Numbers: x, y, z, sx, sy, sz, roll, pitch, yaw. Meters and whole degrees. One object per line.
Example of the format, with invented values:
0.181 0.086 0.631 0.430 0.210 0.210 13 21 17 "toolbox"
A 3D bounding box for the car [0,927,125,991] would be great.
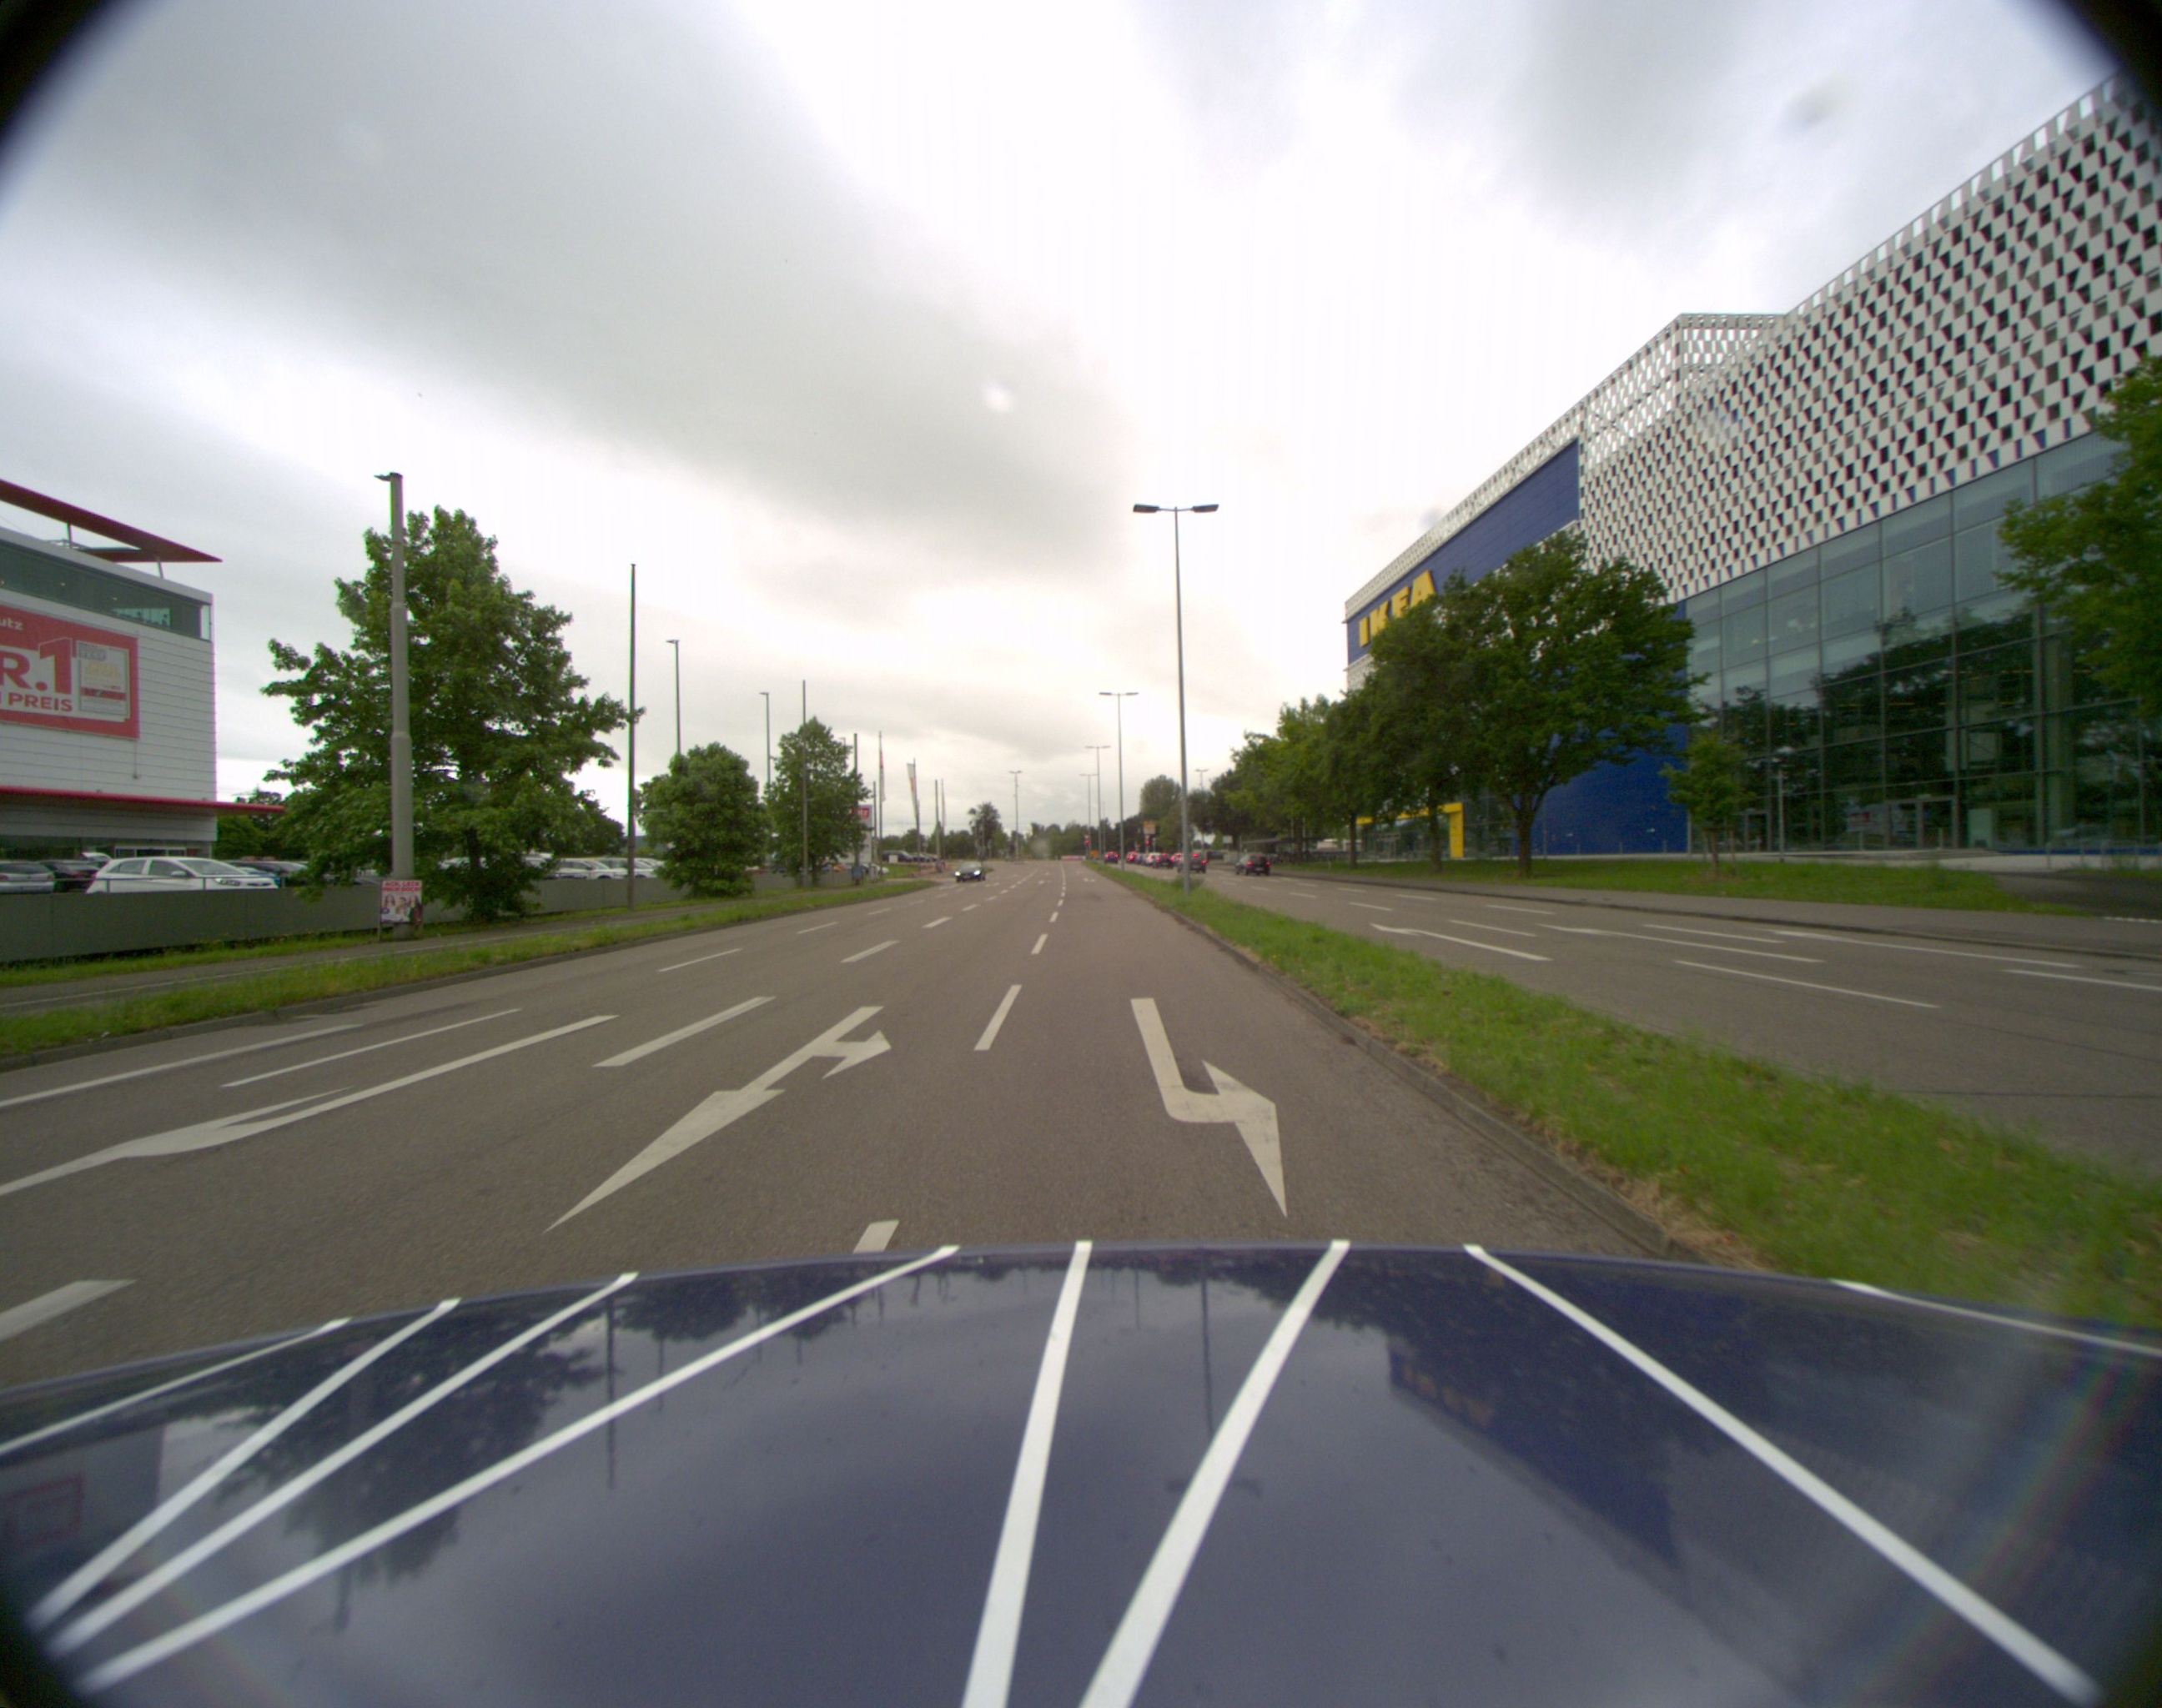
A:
-23.011 2.243 16.128 3.523 1.125 1.454 -2 0 -1 "car"

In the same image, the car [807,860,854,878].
-24.553 1.447 74.496 3.996 1.634 1.815 -1 1 4 "car"

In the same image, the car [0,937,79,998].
-28.754 2.957 19.293 4.065 1.342 1.763 -2 0 -2 "car"

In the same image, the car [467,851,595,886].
-23.615 0.633 32.742 4.163 1.342 1.810 -1 -2 -2 "car"

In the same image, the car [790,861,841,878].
-24.306 1.415 69.577 3.997 1.447 1.814 -1 1 0 "car"

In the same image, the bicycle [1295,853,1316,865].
21.900 0.474 74.163 1.814 1.076 0.593 -3 1 -1 "bicycle"

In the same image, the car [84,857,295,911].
-23.676 0.785 20.297 3.524 1.300 1.606 -1 -2 -6 "car"

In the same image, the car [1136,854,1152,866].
8.118 0.722 97.820 1.607 1.436 4.142 1 0 -2 "car"

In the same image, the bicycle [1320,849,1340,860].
27.781 0.043 84.819 2.023 1.150 0.593 -3 1 -14 "bicycle"

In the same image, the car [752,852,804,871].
-34.552 0.864 86.732 5.046 2.153 2.122 -1 1 4 "car"

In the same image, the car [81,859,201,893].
-48.902 1.148 39.580 3.996 1.600 1.883 -1 -2 2 "car"

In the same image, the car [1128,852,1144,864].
7.558 0.543 104.451 1.666 1.494 4.064 -2 0 -2 "car"

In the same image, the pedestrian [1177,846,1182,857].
16.879 -0.453 129.764 0.664 1.756 0.686 2 4 -5 "pedestrian"

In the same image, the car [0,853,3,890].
-48.681 0.817 32.234 3.577 1.578 1.740 -2 1 3 "car"

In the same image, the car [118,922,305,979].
-28.785 3.178 25.249 4.064 1.542 1.763 -2 0 -1 "car"

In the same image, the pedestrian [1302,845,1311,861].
25.112 -0.117 84.628 0.679 1.735 0.808 -2 0 -1 "pedestrian"

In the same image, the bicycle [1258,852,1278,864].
19.736 0.413 80.274 1.899 1.150 0.593 -3 1 -1 "bicycle"

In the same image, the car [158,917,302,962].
-36.858 3.665 32.983 3.998 1.613 1.783 -2 0 -4 "car"

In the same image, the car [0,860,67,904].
-38.850 1.031 26.984 3.571 1.516 1.613 -1 -2 1 "car"

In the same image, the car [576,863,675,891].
-23.838 1.189 39.857 4.065 1.342 1.835 -1 -2 -2 "car"

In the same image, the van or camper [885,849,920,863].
-27.093 0.274 115.323 4.744 2.003 2.125 1 3 15 "van or camper"

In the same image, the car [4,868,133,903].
-49.092 1.526 36.888 3.996 1.552 1.777 -1 -2 2 "car"

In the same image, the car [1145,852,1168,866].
8.446 0.522 85.044 1.936 1.510 4.181 -2 0 -2 "car"

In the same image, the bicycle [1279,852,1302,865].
20.362 0.479 73.891 2.019 1.150 0.594 -3 1 13 "bicycle"

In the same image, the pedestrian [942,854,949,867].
-17.792 0.826 99.955 0.717 1.589 0.782 -2 3 -18 "pedestrian"

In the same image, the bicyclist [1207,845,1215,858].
16.123 -0.254 94.272 0.642 1.568 1.000 -3 0 -1 "bicyclist"

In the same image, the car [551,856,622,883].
-33.906 1.070 52.194 3.745 1.757 1.734 -1 -2 1 "car"

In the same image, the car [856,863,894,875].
-25.048 1.832 92.578 4.118 1.437 1.876 -1 -2 -2 "car"

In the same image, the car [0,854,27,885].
-55.288 0.797 37.609 3.781 1.544 1.743 -1 -2 -1 "car"

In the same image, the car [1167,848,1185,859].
12.775 -0.027 102.843 1.871 1.446 4.167 0 0 -1 "car"

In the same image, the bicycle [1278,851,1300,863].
21.856 0.327 79.841 2.021 1.150 0.593 -3 1 -1 "bicycle"

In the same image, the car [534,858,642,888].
-23.889 0.942 36.920 4.065 1.342 1.764 -1 -2 -2 "car"

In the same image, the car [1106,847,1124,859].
4.561 -0.131 102.529 1.936 1.477 4.437 0 1 -2 "car"

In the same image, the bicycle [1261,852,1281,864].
19.790 0.405 79.161 1.899 1.150 0.593 -3 1 -1 "bicycle"

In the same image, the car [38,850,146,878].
-57.246 0.598 44.034 3.803 1.544 1.831 -1 -2 -2 "car"

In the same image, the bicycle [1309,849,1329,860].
27.780 0.043 88.665 2.021 1.150 0.593 -3 1 -3 "bicycle"

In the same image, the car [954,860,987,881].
-8.218 1.186 57.064 1.999 1.383 4.342 -1 1 -3 "car"

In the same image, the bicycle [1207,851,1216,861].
16.165 0.241 94.295 0.644 1.243 2.056 -3 0 -1 "bicycle"

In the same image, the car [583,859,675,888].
-25.179 1.096 42.392 4.064 1.531 1.764 -1 -2 1 "car"

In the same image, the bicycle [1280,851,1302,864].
21.523 0.356 77.902 2.021 1.150 0.593 -3 1 -1 "bicycle"

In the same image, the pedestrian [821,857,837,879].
-19.673 1.100 59.337 0.942 1.709 0.885 -1 -1 -2 "pedestrian"

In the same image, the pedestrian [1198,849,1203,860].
18.379 0.087 116.810 0.635 1.633 0.809 -1 3 -4 "pedestrian"

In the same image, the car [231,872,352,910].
-38.391 1.810 37.031 3.997 1.710 1.841 -1 -2 0 "car"

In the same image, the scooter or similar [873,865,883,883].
-14.252 1.390 53.280 0.371 1.184 1.248 -1 0 -1 "scooter or similar"

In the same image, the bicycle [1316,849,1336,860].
27.805 0.048 86.328 2.021 1.150 0.593 -3 1 -3 "bicycle"

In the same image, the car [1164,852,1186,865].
10.728 0.488 86.621 1.777 1.443 4.403 0 1 -2 "car"

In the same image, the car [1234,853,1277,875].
12.432 0.662 54.389 1.936 1.447 4.181 -1 0 -2 "car"

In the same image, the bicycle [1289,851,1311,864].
22.115 0.342 76.809 2.021 1.150 0.593 -3 1 -1 "bicycle"

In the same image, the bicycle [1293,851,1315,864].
22.159 0.347 75.508 2.021 1.150 0.593 -3 1 -1 "bicycle"

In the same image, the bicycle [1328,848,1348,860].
27.958 0.021 82.601 2.022 1.150 0.593 -3 1 -7 "bicycle"

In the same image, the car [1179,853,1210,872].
8.894 0.640 59.724 1.784 1.447 4.181 0 1 0 "car"

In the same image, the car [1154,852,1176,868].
8.389 0.582 76.063 1.762 1.445 3.999 0 1 -1 "car"

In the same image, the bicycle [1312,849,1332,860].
27.792 0.040 87.560 2.021 1.150 0.593 -3 1 -3 "bicycle"

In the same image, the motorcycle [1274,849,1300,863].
21.968 0.209 81.102 2.501 1.347 0.799 -3 1 -13 "motorcycle"

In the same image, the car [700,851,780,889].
-24.543 1.140 54.760 4.734 2.563 2.171 -1 -2 1 "car"

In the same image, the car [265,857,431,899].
-25.638 0.848 26.688 4.065 1.342 1.764 -1 -2 -2 "car"

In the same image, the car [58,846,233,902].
-36.207 0.755 29.512 4.187 2.002 2.000 -2 0 -1 "car"

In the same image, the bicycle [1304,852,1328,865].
22.224 0.427 71.983 2.020 1.116 0.593 -3 1 1 "bicycle"

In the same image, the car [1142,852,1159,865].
8.360 0.492 91.789 1.607 1.489 4.036 1 1 -2 "car"
